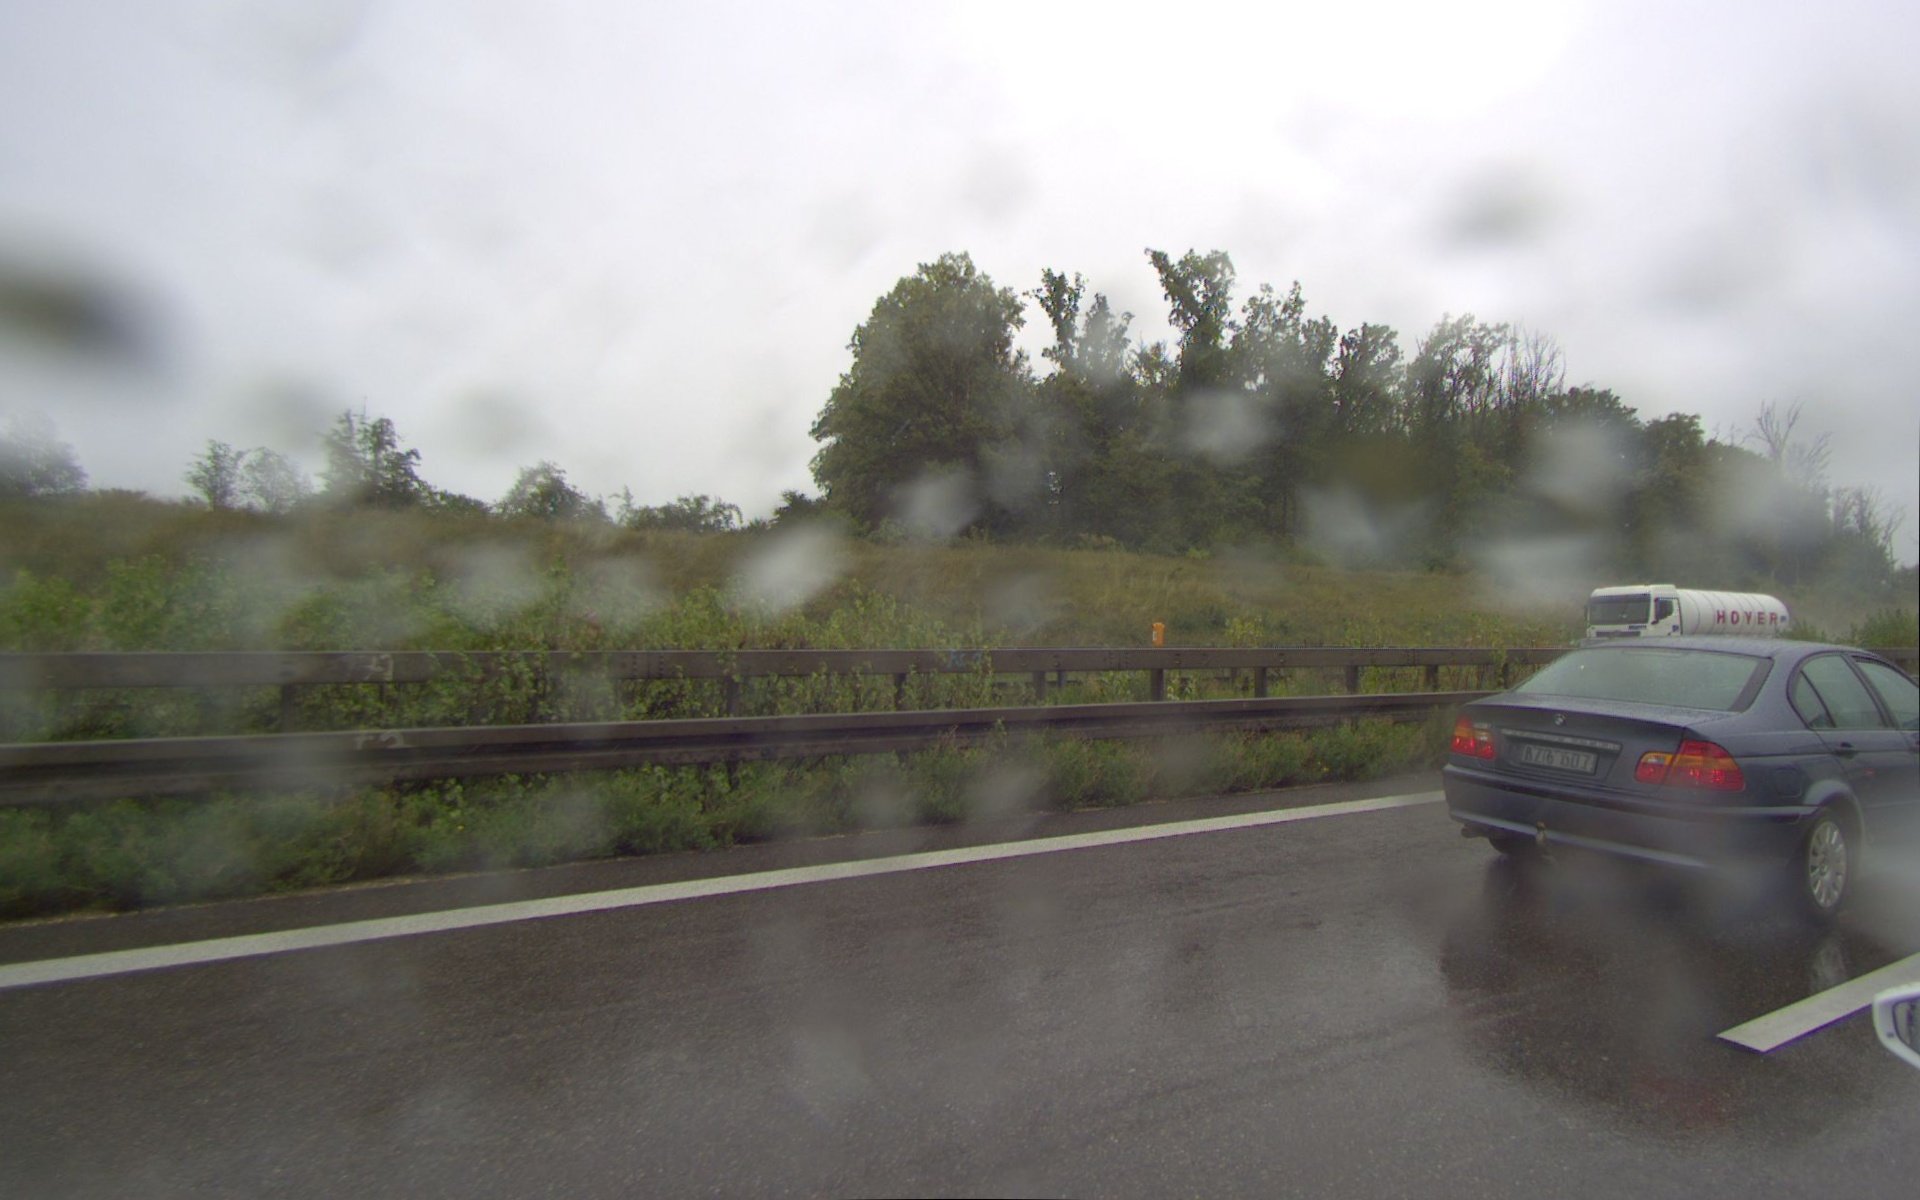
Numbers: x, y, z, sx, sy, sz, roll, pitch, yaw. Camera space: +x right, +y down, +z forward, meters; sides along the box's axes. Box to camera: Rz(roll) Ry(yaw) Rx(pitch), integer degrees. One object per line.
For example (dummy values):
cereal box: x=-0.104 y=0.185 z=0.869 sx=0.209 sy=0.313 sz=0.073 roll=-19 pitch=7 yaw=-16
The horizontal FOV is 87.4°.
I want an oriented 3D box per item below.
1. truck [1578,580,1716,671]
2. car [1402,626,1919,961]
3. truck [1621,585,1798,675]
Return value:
truck: x=26.787 y=1.078 z=39.139 sx=5.140 sy=3.323 sz=2.529 roll=2 pitch=-3 yaw=-31
car: x=4.811 y=0.912 z=6.169 sx=4.180 sy=1.418 sz=1.710 roll=2 pitch=-1 yaw=-30
truck: x=31.362 y=1.352 z=41.881 sx=9.240 sy=3.341 sz=2.543 roll=3 pitch=-3 yaw=-30
